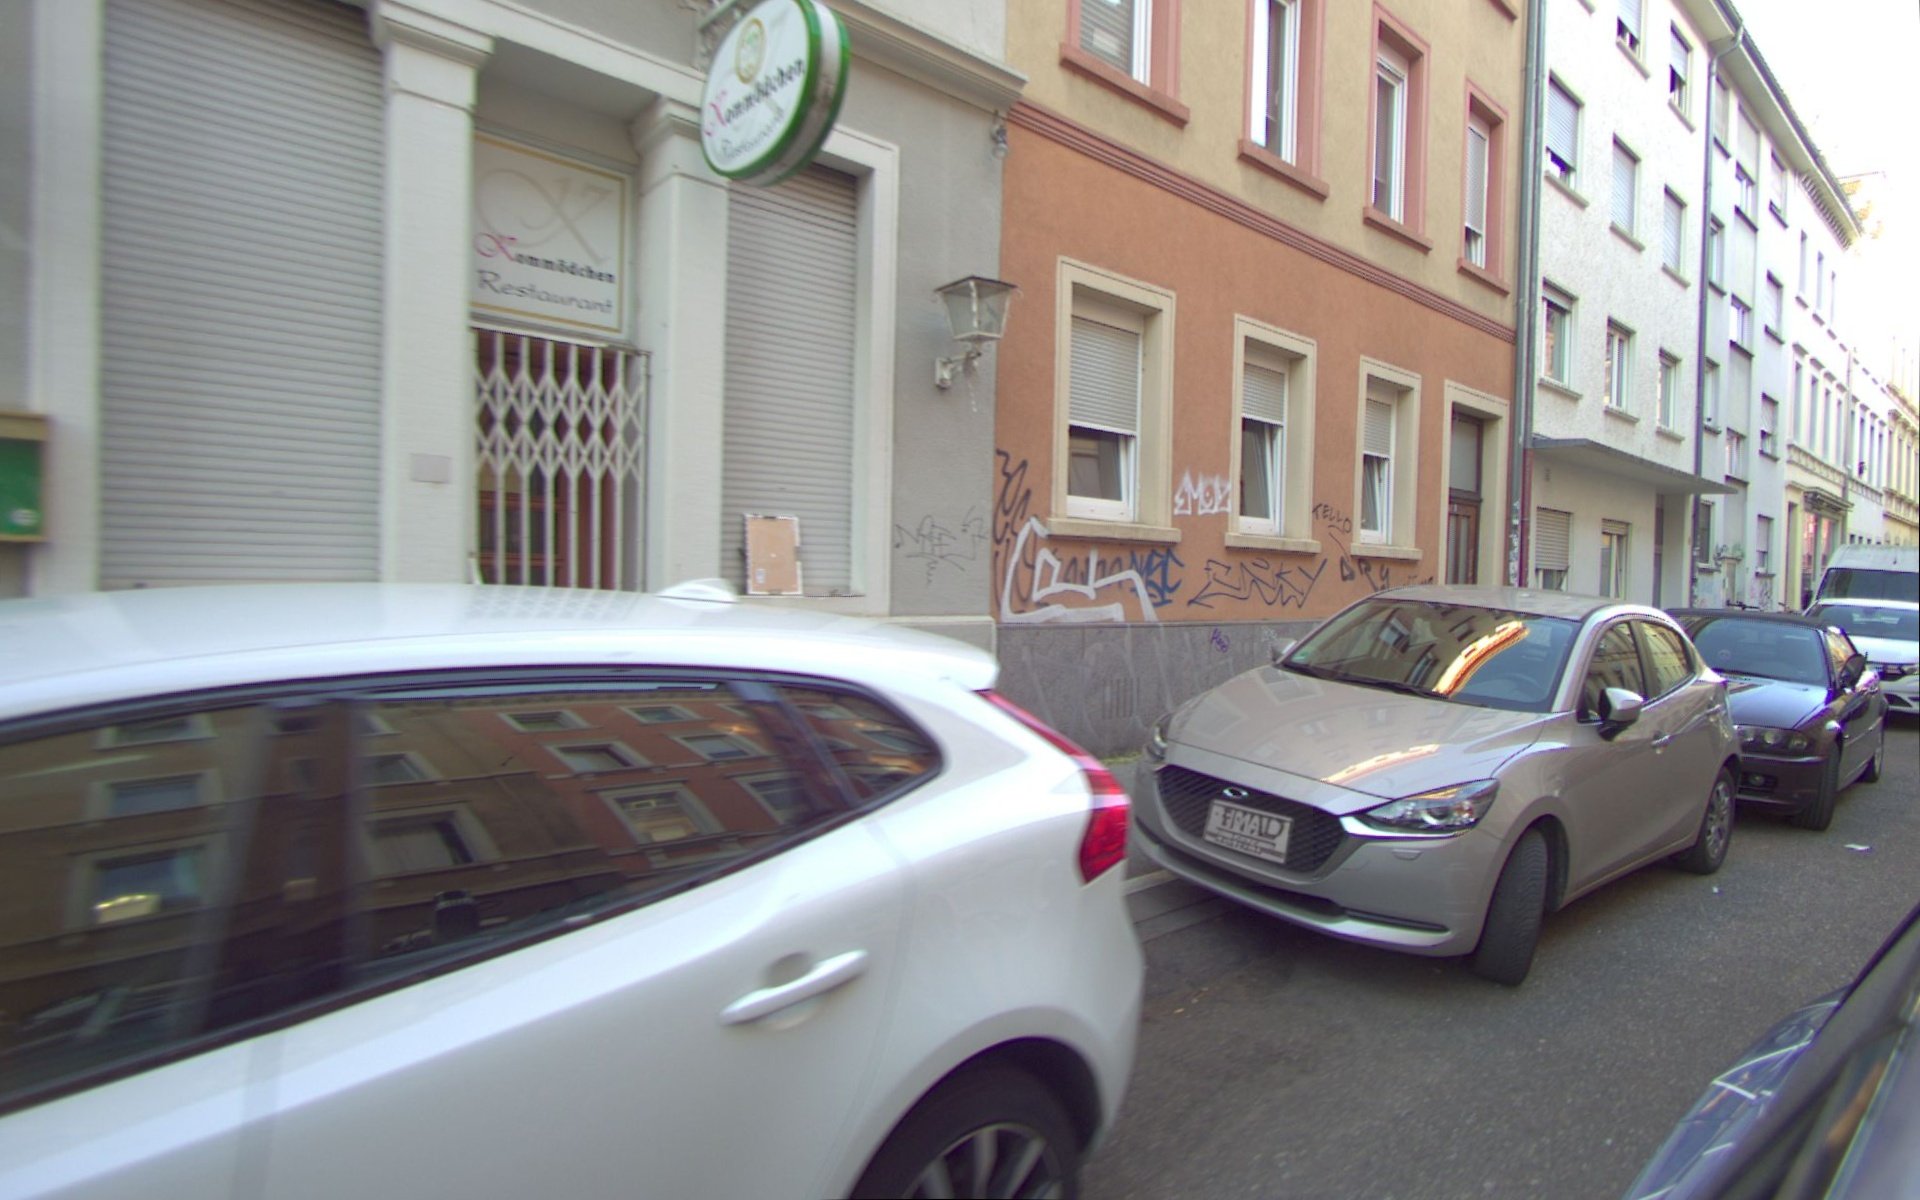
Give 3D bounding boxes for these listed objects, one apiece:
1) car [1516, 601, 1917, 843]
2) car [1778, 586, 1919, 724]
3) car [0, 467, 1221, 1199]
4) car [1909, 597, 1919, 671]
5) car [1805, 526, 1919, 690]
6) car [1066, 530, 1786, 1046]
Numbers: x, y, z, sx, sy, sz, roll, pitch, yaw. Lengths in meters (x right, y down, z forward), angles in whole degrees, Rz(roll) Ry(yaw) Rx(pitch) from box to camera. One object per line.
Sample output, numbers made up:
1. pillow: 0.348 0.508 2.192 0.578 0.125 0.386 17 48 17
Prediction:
1. car: 6.238 0.719 8.129 4.417 1.412 1.770 0 0 -42
2. car: 12.012 0.620 13.164 3.796 1.579 1.680 0 0 -44
3. car: -1.510 0.640 1.461 4.118 1.529 1.681 0 0 -42
4. car: 20.915 0.672 20.808 3.792 1.461 1.682 0 0 -41
5. car: 16.954 0.121 17.848 5.914 2.545 2.049 0 0 -39
6. car: 2.588 0.583 5.133 4.114 1.617 1.683 0 0 -39
